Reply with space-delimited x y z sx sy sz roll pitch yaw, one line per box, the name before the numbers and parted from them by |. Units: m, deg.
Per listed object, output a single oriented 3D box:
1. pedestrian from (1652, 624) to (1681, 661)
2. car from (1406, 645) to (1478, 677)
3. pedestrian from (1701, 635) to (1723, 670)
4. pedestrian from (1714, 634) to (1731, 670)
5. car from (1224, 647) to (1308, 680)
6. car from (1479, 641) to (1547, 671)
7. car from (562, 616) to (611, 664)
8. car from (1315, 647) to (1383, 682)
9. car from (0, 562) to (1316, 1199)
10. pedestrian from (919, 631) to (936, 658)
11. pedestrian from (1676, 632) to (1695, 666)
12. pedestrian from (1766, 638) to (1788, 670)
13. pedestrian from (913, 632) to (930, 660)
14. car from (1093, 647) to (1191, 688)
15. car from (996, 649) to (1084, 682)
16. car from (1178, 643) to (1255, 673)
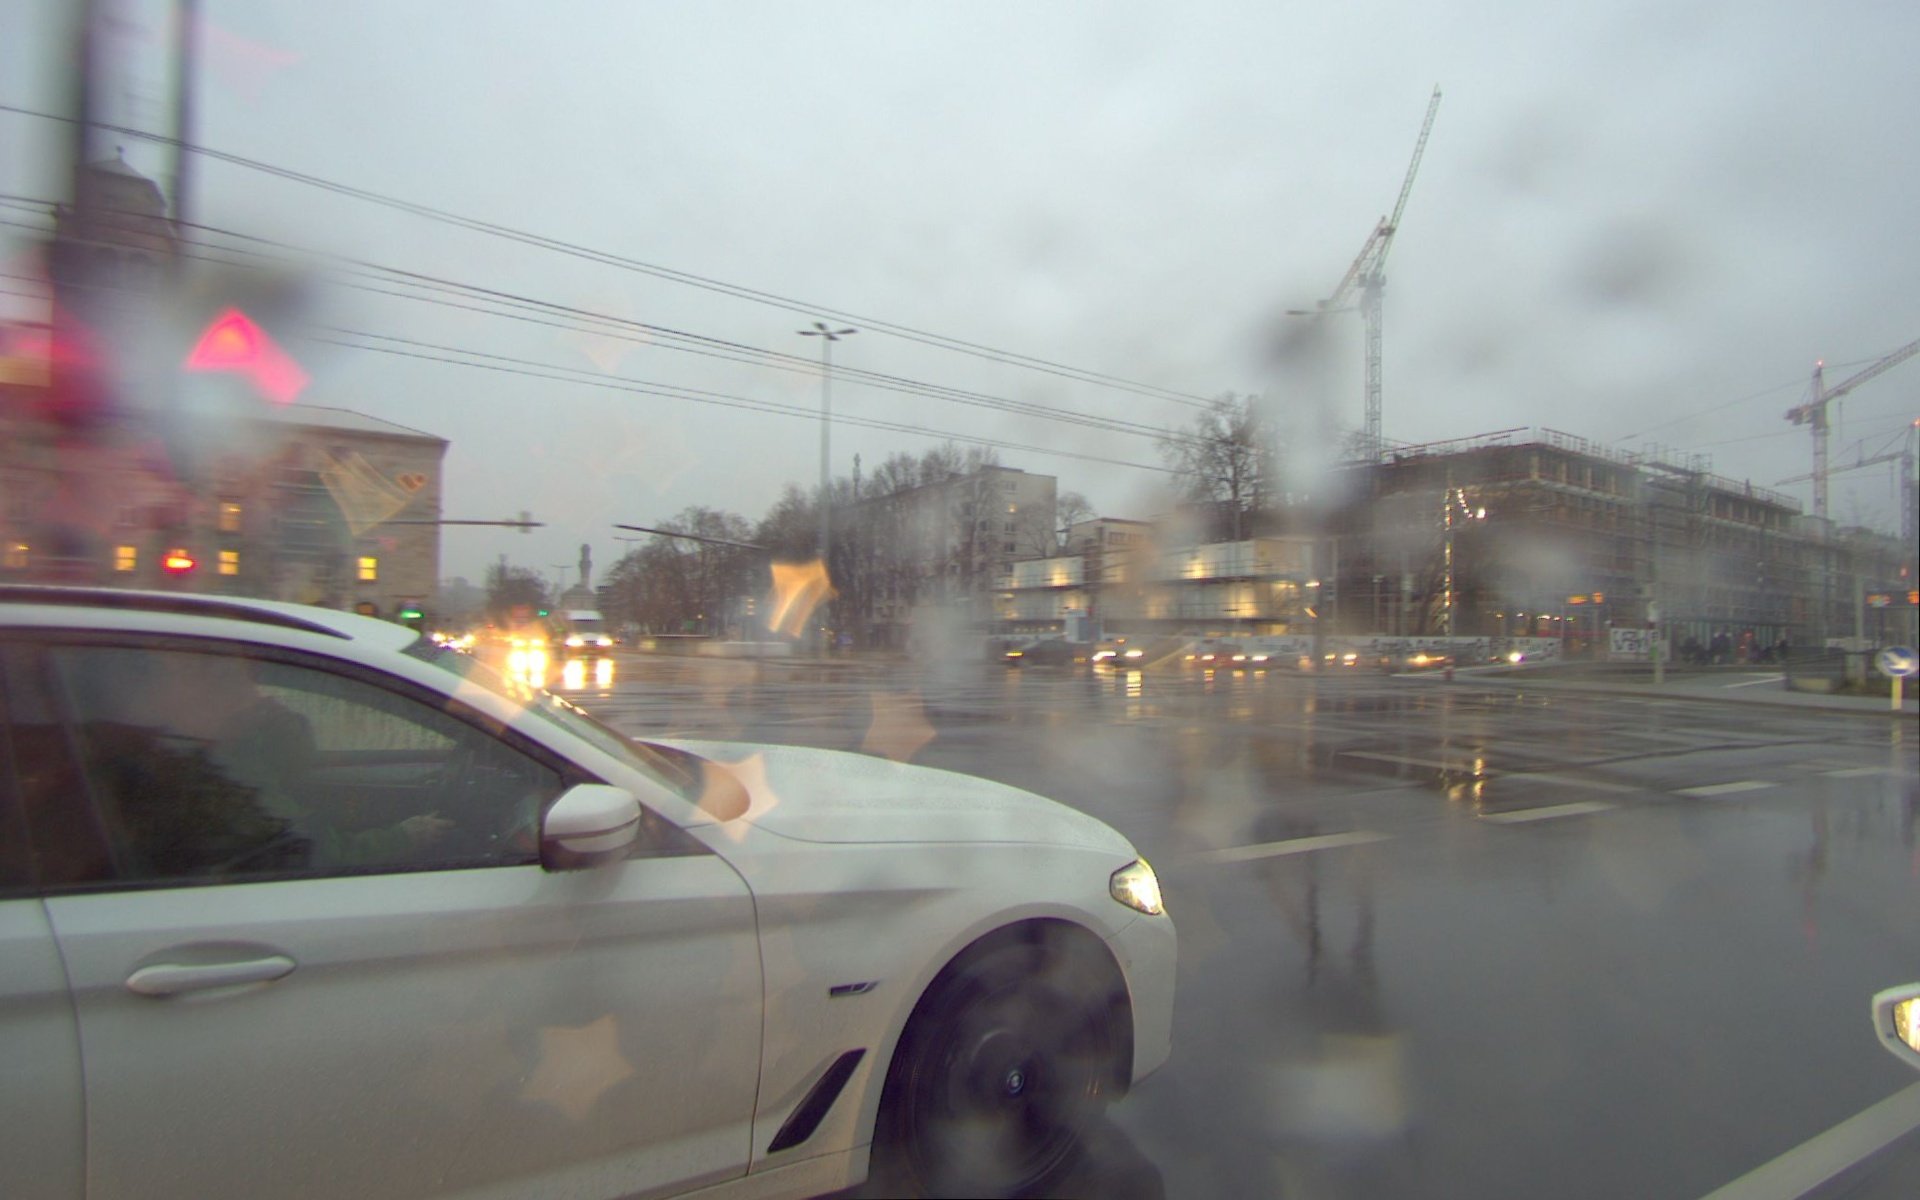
pedestrian | 39.677 2.384 56.413 1.080 2.040 0.938 2 0 -28
car | 29.820 3.795 62.095 3.948 1.814 1.987 2 -1 -26
pedestrian | 43.161 3.004 57.649 0.754 1.922 0.761 3 -1 -32
pedestrian | 44.269 3.019 58.319 0.659 1.994 0.566 2 1 -38
car | 15.699 3.231 51.361 4.581 1.550 2.057 3 -3 -42
car | 36.253 3.673 65.835 3.948 1.814 1.987 2 -1 -26
car | -20.312 2.145 54.585 2.033 2.454 4.731 1 -2 -26
car | 22.144 3.652 57.072 3.966 1.852 1.850 3 -1 -39
car | -1.370 0.741 2.576 4.511 1.506 2.006 2 -2 -33
pedestrian | -2.440 3.350 75.173 0.810 1.959 0.915 2 -1 -38
pedestrian | 41.011 2.780 56.806 0.547 1.905 0.694 2 0 -32
pedestrian | 53.800 3.538 66.156 1.086 2.040 0.933 2 -1 -43
pedestrian | -2.764 3.322 72.762 0.810 1.959 0.915 2 -1 -38
car | 7.994 2.936 44.013 3.956 1.678 1.983 2 -2 -32
car | 3.934 3.190 49.201 3.956 1.550 1.983 2 -2 -32
car | 14.302 3.223 55.859 4.299 1.550 1.978 3 -3 -38
